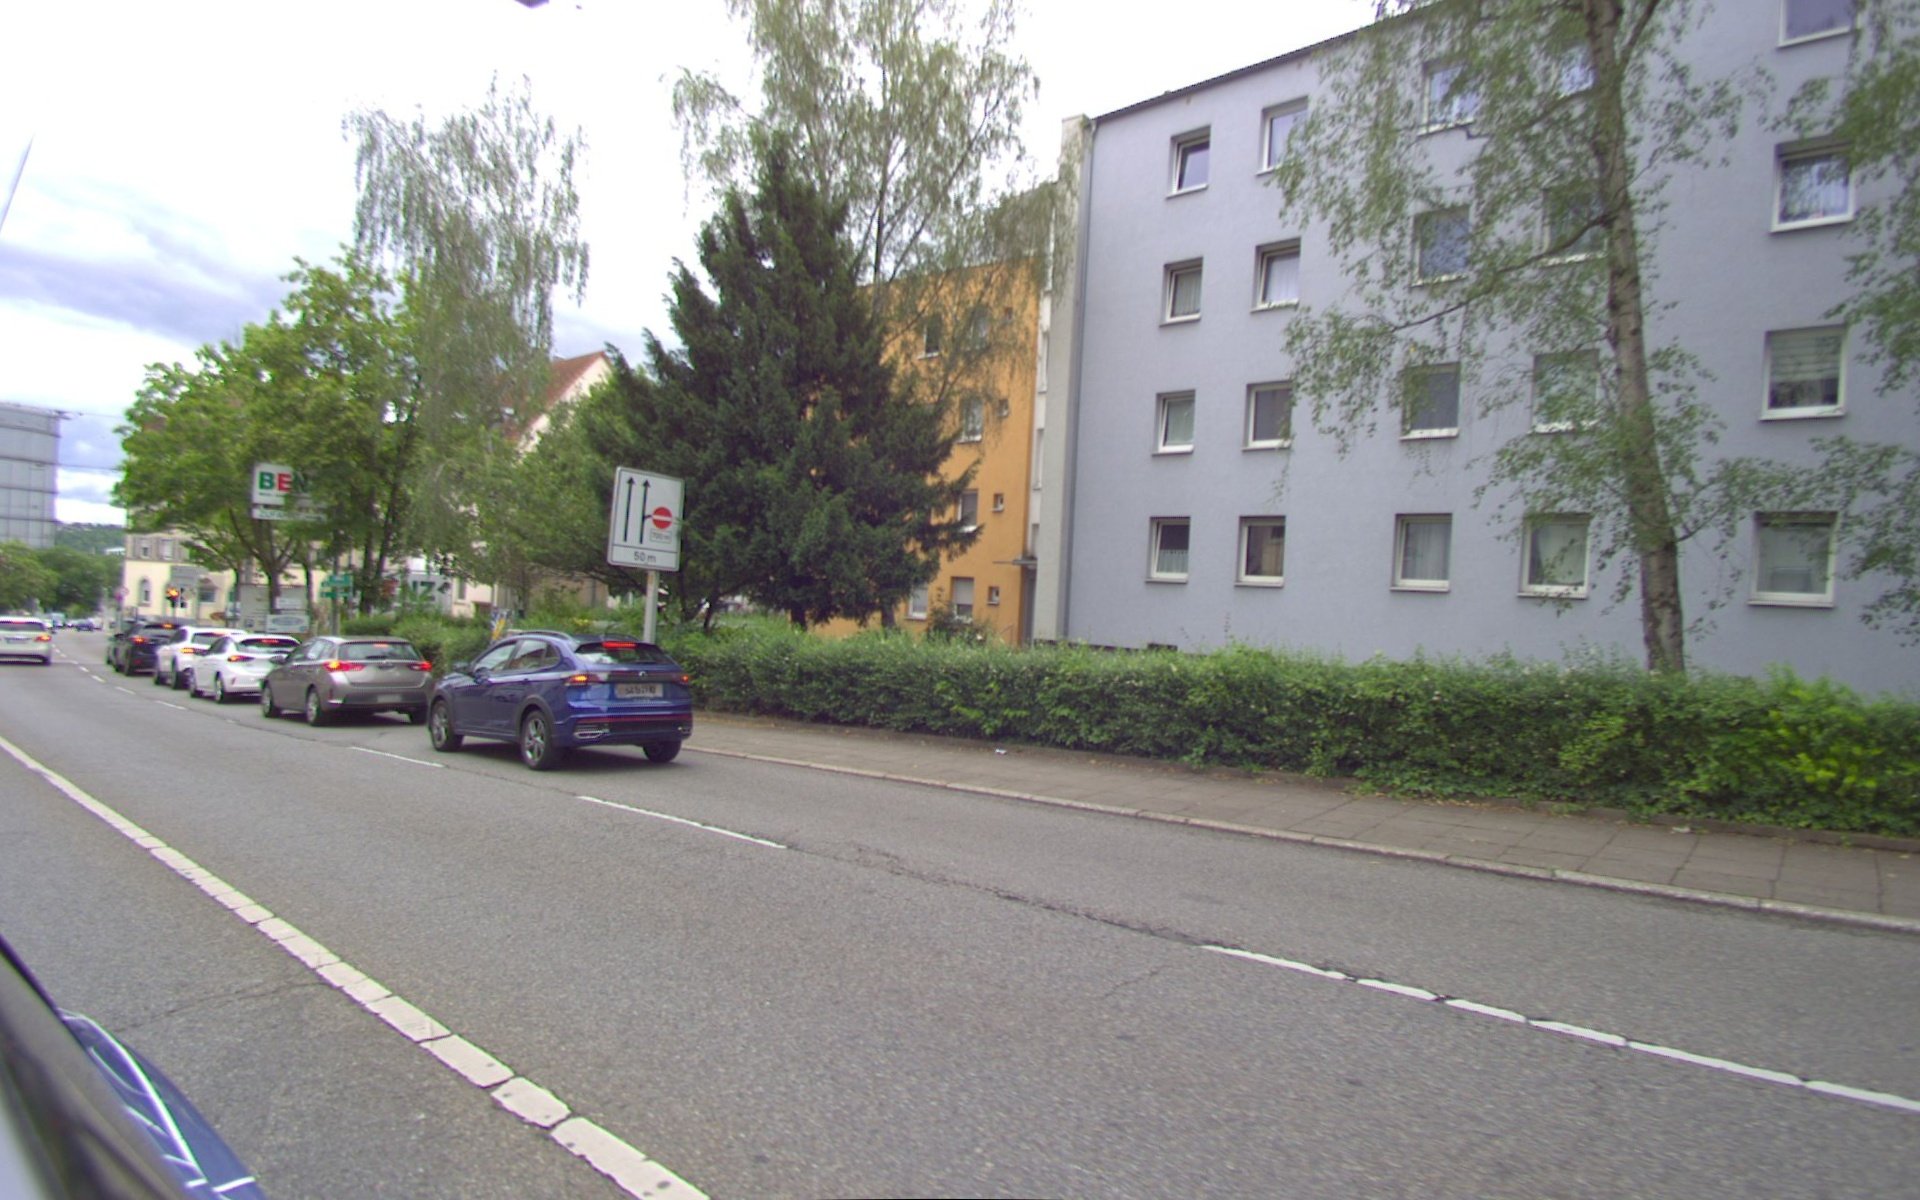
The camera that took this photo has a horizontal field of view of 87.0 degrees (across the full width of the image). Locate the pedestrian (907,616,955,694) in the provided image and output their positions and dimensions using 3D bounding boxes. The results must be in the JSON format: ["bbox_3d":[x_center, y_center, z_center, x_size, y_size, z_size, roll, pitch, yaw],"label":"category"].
[{"bbox_3d":[-0.691,1.295,23.687,0.714,1.768,0.794,2,-7,-44],"label":"pedestrian"}]

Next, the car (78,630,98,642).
[{"bbox_3d":[-119.097,4.913,138.299,1.731,1.458,3.760,1,-1,-36],"label":"car"}]

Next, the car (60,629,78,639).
[{"bbox_3d":[-153.440,5.803,174.391,1.967,1.612,4.009,0,-1,-36],"label":"car"}]

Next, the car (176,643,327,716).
[{"bbox_3d":[-15.621,1.708,22.237,4.073,1.423,1.819,-1,-5,43],"label":"car"}]

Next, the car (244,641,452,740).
[{"bbox_3d":[-10.618,1.476,17.434,4.309,1.459,1.819,-1,-4,42],"label":"car"}]

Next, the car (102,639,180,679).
[{"bbox_3d":[-29.616,2.117,36.549,1.780,1.291,4.240,6,-5,-43],"label":"car"}]

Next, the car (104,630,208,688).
[{"bbox_3d":[-25.150,1.804,31.603,4.415,1.655,1.929,-2,-5,44],"label":"car"}]

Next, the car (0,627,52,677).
[{"bbox_3d":[-32.072,1.731,34.228,1.755,1.558,4.328,6,-5,-44],"label":"car"}]

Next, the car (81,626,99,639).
[{"bbox_3d":[-137.382,5.150,159.835,1.841,1.898,4.293,5,-5,-39],"label":"car"}]

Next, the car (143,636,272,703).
[{"bbox_3d":[-19.969,1.813,26.795,4.499,1.606,1.929,-2,-5,44],"label":"car"}]

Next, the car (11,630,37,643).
[{"bbox_3d":[-121.363,4.746,131.257,1.967,1.612,4.009,0,-1,-36],"label":"car"}]

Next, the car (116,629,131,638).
[{"bbox_3d":[-153.904,6.156,186.231,1.967,1.612,4.009,0,-1,-36],"label":"car"}]

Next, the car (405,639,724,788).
[{"bbox_3d":[-4.920,1.247,12.310,4.309,1.459,1.819,-1,-4,42],"label":"car"}]

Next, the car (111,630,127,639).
[{"bbox_3d":[-147.285,6.039,177.246,1.967,1.612,4.009,0,-1,-36],"label":"car"}]
